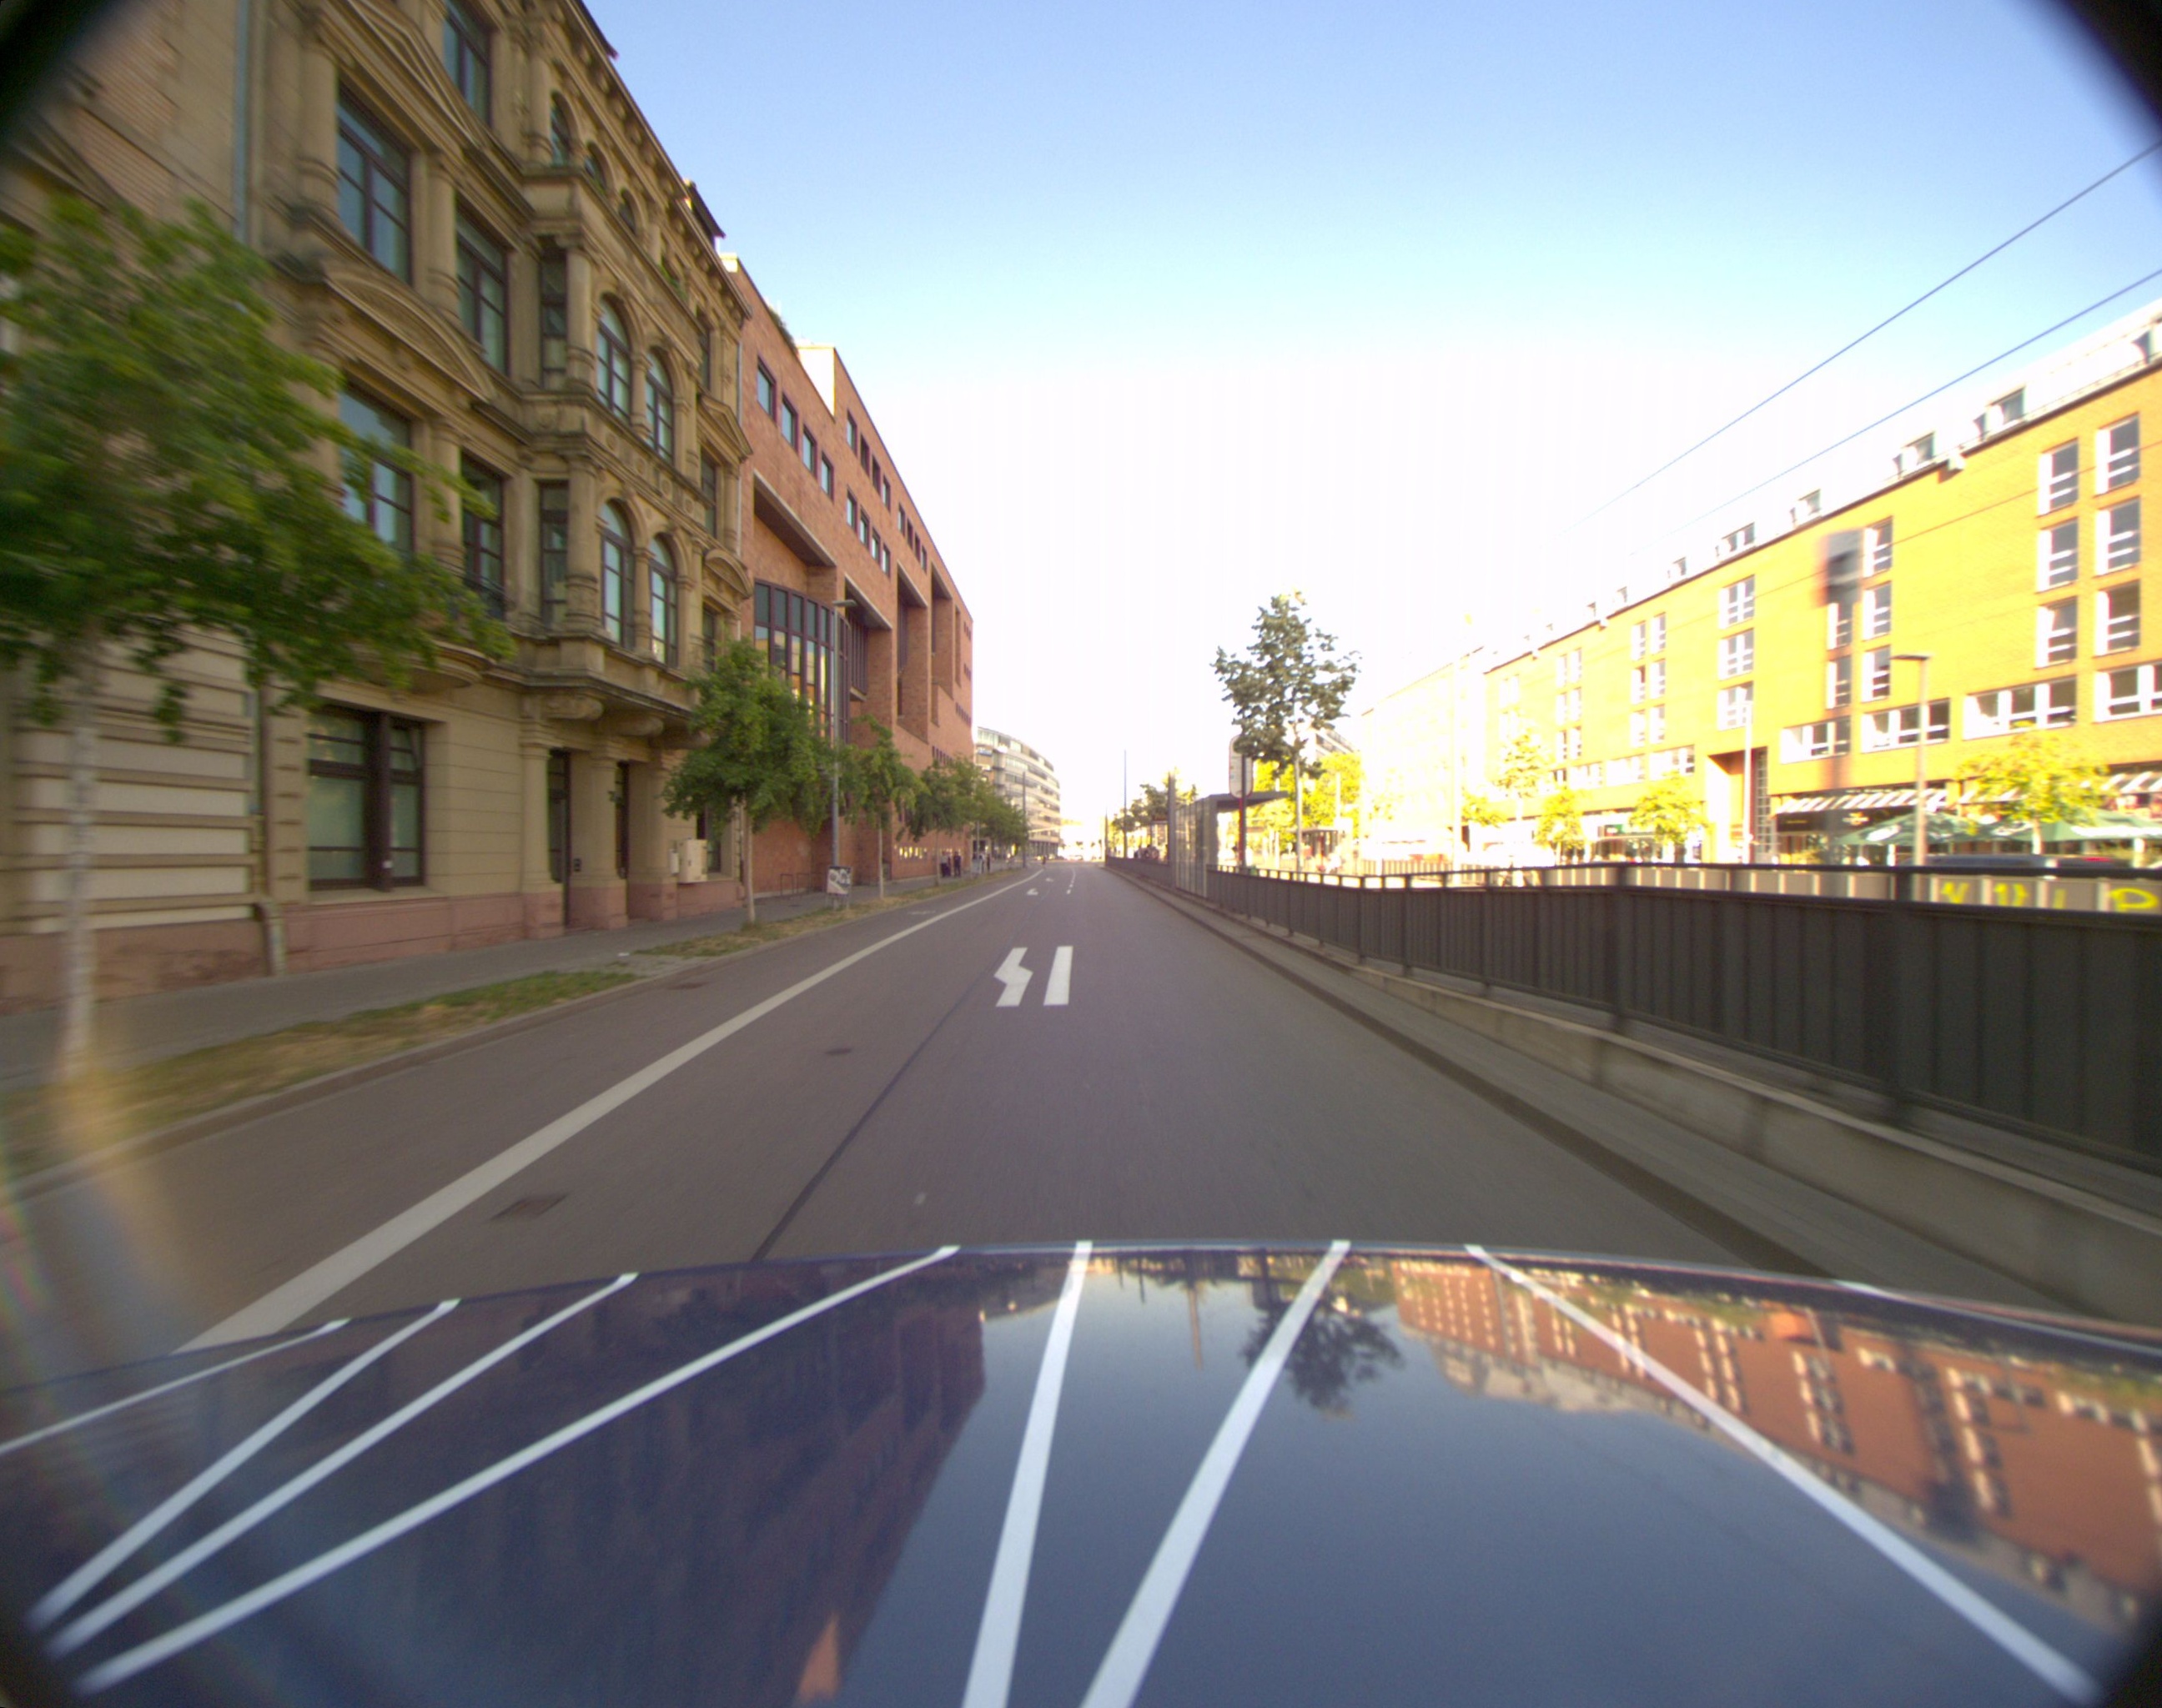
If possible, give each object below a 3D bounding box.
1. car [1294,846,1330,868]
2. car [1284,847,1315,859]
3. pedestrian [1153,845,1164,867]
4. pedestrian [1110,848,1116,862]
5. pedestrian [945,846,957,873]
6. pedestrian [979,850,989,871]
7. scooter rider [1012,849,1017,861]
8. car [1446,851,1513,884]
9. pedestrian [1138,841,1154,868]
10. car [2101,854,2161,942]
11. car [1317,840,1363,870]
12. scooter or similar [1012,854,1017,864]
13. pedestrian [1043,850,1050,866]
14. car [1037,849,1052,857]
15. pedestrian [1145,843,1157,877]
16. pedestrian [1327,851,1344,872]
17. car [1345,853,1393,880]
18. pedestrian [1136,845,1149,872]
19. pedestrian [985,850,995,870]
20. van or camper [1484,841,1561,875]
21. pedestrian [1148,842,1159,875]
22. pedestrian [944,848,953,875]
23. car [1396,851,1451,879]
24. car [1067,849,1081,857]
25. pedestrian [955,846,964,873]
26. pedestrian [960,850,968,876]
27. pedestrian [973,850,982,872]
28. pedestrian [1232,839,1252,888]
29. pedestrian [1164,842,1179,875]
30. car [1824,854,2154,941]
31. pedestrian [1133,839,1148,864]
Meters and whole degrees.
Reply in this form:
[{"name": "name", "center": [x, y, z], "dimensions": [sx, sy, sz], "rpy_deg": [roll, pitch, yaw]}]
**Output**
[{"name": "car", "center": [24.408, 0.272, 80.512], "dimensions": [2.084, 2.276, 5.263], "rpy_deg": [0, 1, -1]}, {"name": "car", "center": [35.191, -0.149, 122.278], "dimensions": [4.381, 2.002, 2.000], "rpy_deg": [0, 1, 1]}, {"name": "pedestrian", "center": [5.049, 0.126, 49.451], "dimensions": [0.683, 1.475, 0.829], "rpy_deg": [0, 1, 9]}, {"name": "pedestrian", "center": [3.471, 0.149, 82.434], "dimensions": [0.490, 1.530, 0.552], "rpy_deg": [0, 1, 15]}, {"name": "pedestrian", "center": [-8.564, 0.371, 50.173], "dimensions": [0.537, 1.746, 0.696], "rpy_deg": [0, 1, 11]}, {"name": "pedestrian", "center": [-7.850, 0.520, 61.707], "dimensions": [0.574, 1.703, 0.639], "rpy_deg": [-1, 1, -38]}, {"name": "scooter rider", "center": [-8.368, 0.149, 95.821], "dimensions": [0.508, 1.452, 0.721], "rpy_deg": [0, 1, -9]}, {"name": "car", "center": [23.631, 0.775, 45.238], "dimensions": [1.890, 1.856, 4.317], "rpy_deg": [0, 0, 3]}, {"name": "pedestrian", "center": [4.077, 0.023, 47.716], "dimensions": [0.890, 1.662, 1.095], "rpy_deg": [0, 1, -3]}, {"name": "car", "center": [25.634, 0.997, 16.348], "dimensions": [1.997, 2.002, 4.149], "rpy_deg": [0, 0, 6]}, {"name": "car", "center": [21.017, 0.064, 61.973], "dimensions": [2.051, 2.344, 4.919], "rpy_deg": [0, 0, 0]}, {"name": "scooter or similar", "center": [-8.391, 0.641, 95.954], "dimensions": [0.529, 1.310, 1.131], "rpy_deg": [0, 1, -8]}, {"name": "pedestrian", "center": [-3.896, 0.451, 85.356], "dimensions": [0.624, 1.692, 0.749], "rpy_deg": [0, 1, -10]}, {"name": "car", "center": [-7.573, -0.189, 157.357], "dimensions": [1.901, 1.611, 4.177], "rpy_deg": [0, 0, 15]}, {"name": "pedestrian", "center": [3.506, 0.293, 38.022], "dimensions": [0.506, 1.669, 0.651], "rpy_deg": [0, 1, 0]}, {"name": "pedestrian", "center": [14.811, 0.426, 44.253], "dimensions": [0.674, 1.183, 0.906], "rpy_deg": [0, 1, 0]}, {"name": "car", "center": [20.991, 0.901, 55.545], "dimensions": [1.891, 1.856, 4.316], "rpy_deg": [0, 0, 0]}, {"name": "pedestrian", "center": [3.560, 0.261, 43.838], "dimensions": [0.674, 1.553, 0.906], "rpy_deg": [0, 1, 0]}, {"name": "pedestrian", "center": [-7.449, 0.467, 62.270], "dimensions": [0.519, 1.596, 0.702], "rpy_deg": [-1, 2, -44]}, {"name": "van or camper", "center": [29.079, 0.330, 50.300], "dimensions": [1.998, 2.156, 5.617], "rpy_deg": [0, -1, 2]}, {"name": "pedestrian", "center": [3.820, 0.246, 40.086], "dimensions": [0.506, 1.722, 0.651], "rpy_deg": [0, 1, 0]}, {"name": "pedestrian", "center": [-8.496, 0.465, 48.710], "dimensions": [0.538, 1.746, 0.421], "rpy_deg": [0, 1, -16]}, {"name": "car", "center": [23.784, 0.770, 52.924], "dimensions": [1.891, 1.856, 4.316], "rpy_deg": [0, 0, 0]}, {"name": "car", "center": [-1.463, -0.143, 160.392], "dimensions": [1.901, 1.611, 4.177], "rpy_deg": [0, 0, 15]}, {"name": "pedestrian", "center": [-7.845, 0.367, 49.022], "dimensions": [0.538, 1.746, 0.464], "rpy_deg": [0, 1, -13]}, {"name": "pedestrian", "center": [-7.912, 0.609, 51.255], "dimensions": [0.538, 1.746, 0.695], "rpy_deg": [0, 1, -9]}, {"name": "pedestrian", "center": [-8.074, 0.561, 59.473], "dimensions": [0.420, 1.746, 0.539], "rpy_deg": [1, 1, 37]}, {"name": "pedestrian", "center": [4.581, 0.260, 21.657], "dimensions": [0.430, 1.377, 0.407], "rpy_deg": [-1, 1, -11]}, {"name": "pedestrian", "center": [4.795, 0.250, 40.234], "dimensions": [0.721, 1.722, 0.651], "rpy_deg": [0, 1, 0]}, {"name": "car", "center": [20.711, 0.875, 17.795], "dimensions": [1.998, 1.707, 4.942], "rpy_deg": [0, 0, 4]}, {"name": "pedestrian", "center": [3.893, -0.153, 49.724], "dimensions": [0.889, 1.662, 0.672], "rpy_deg": [0, 1, 9]}]
